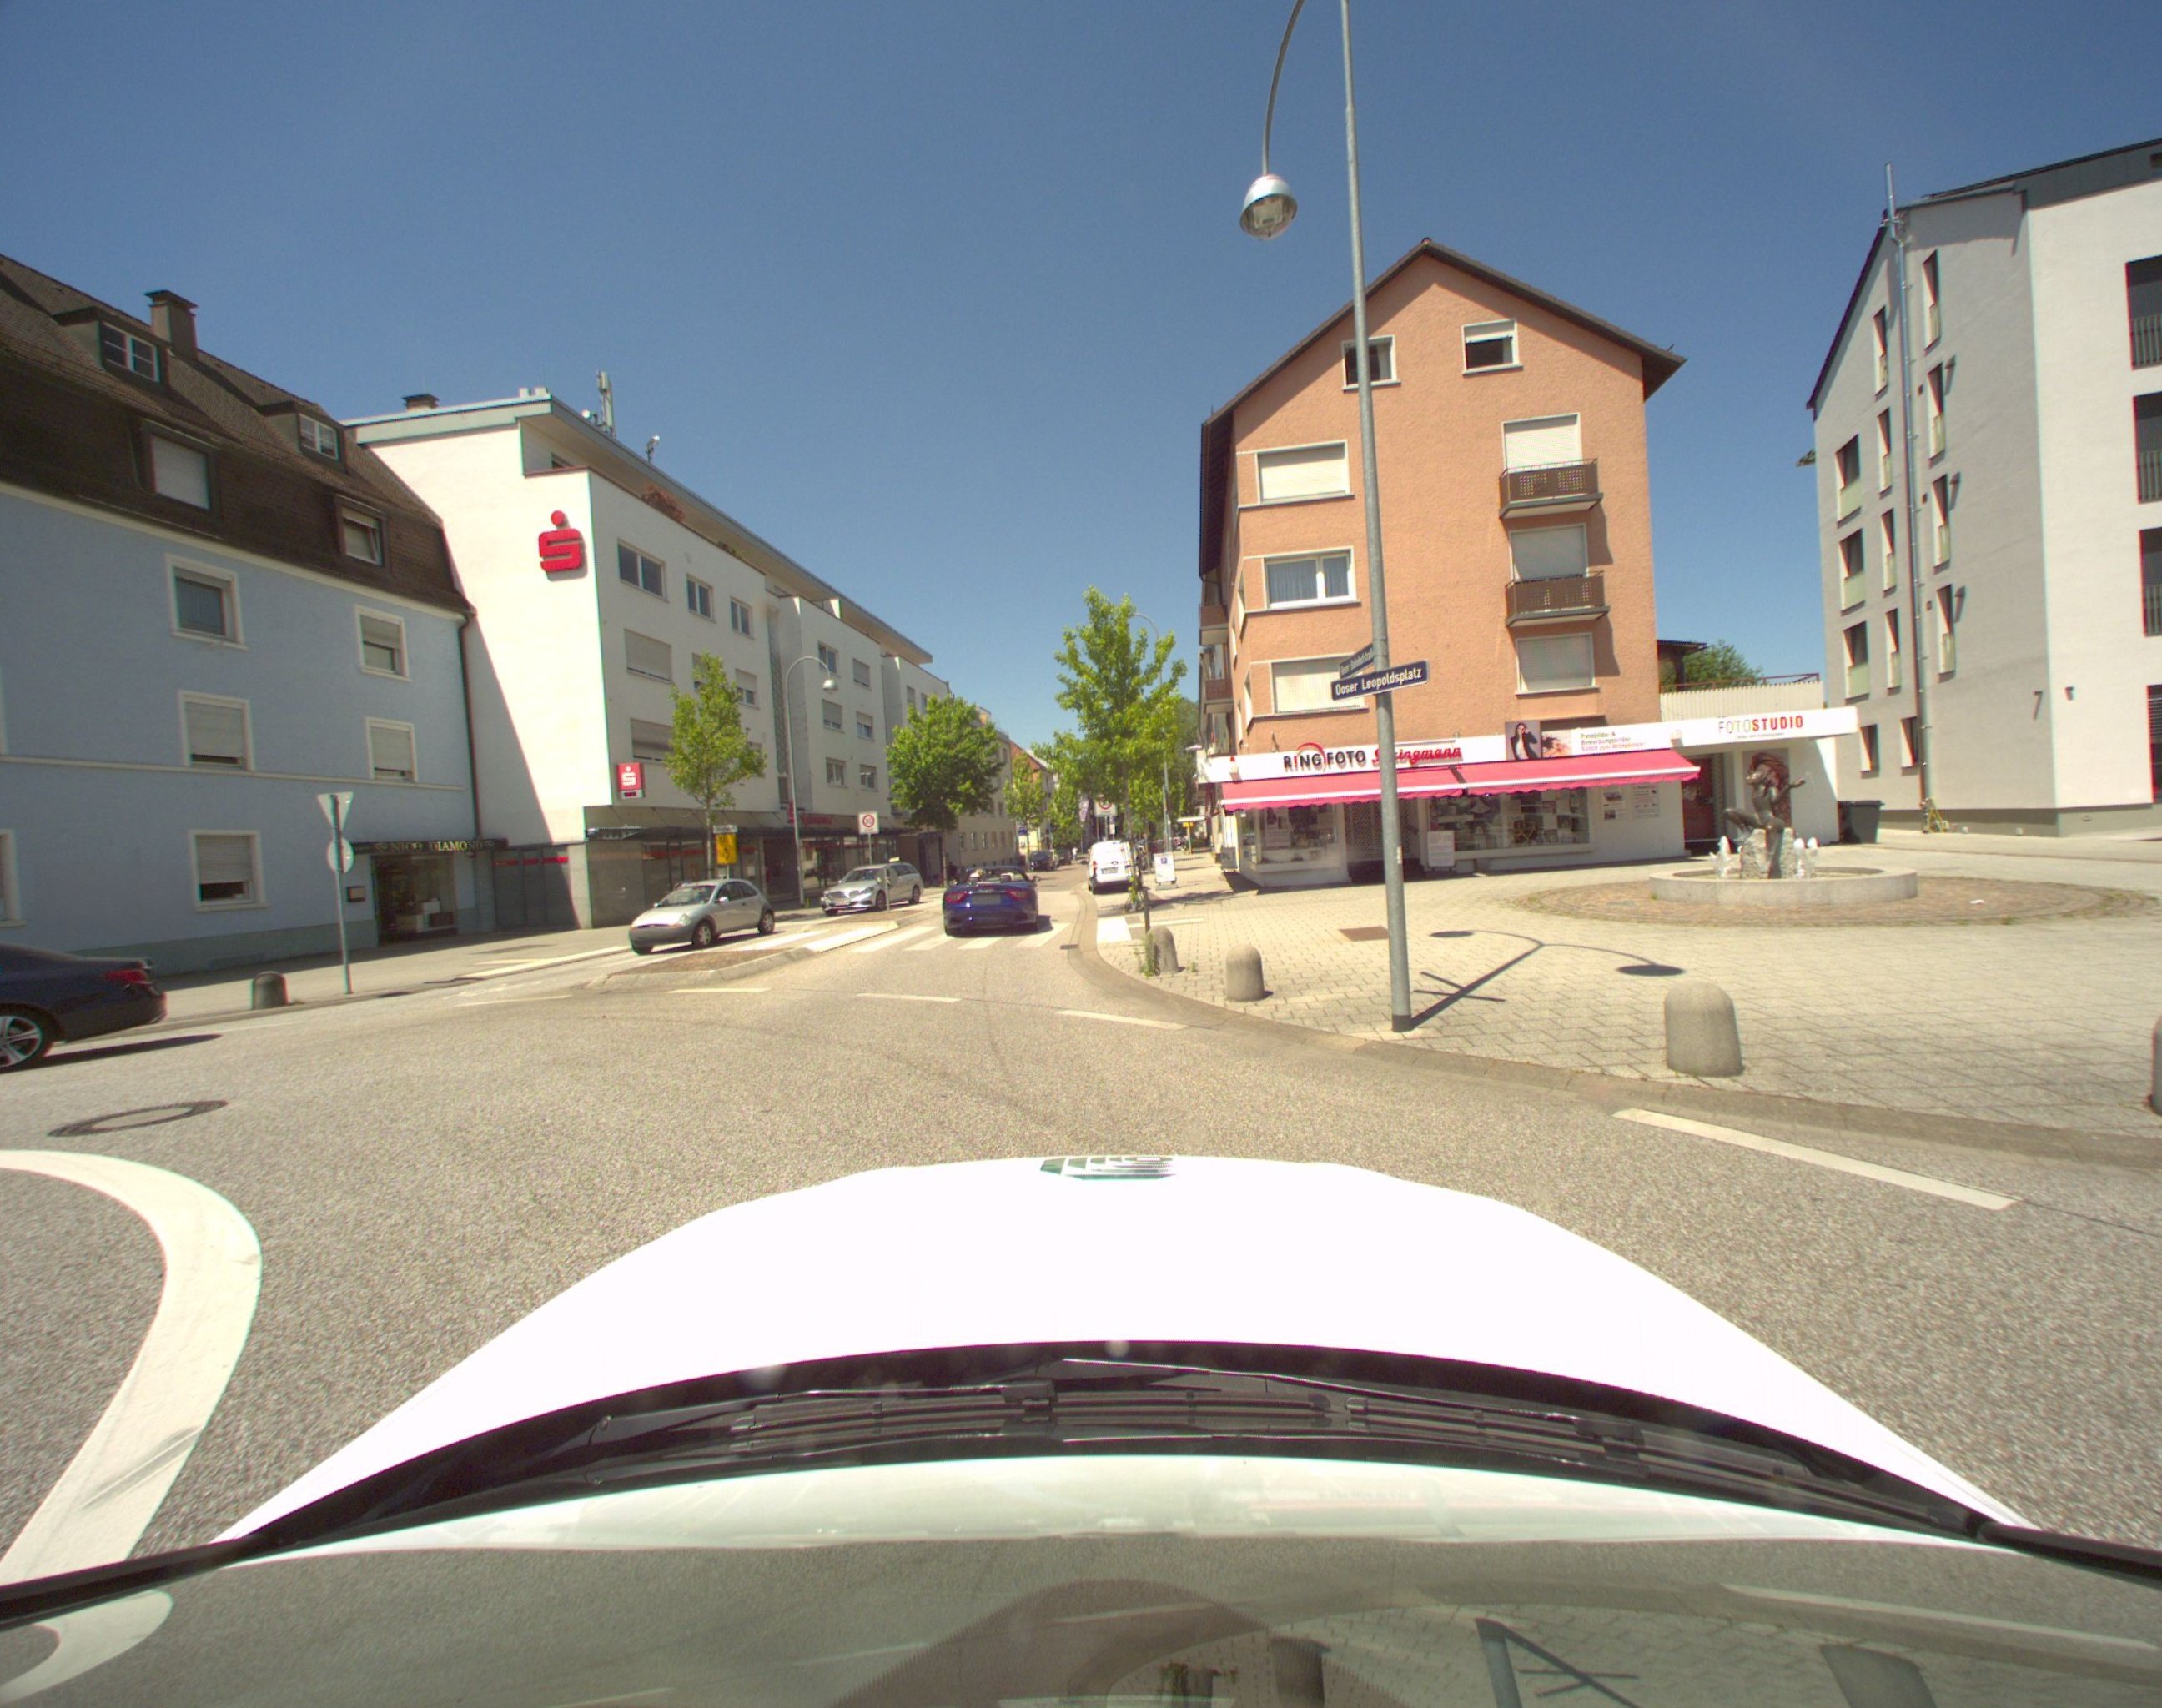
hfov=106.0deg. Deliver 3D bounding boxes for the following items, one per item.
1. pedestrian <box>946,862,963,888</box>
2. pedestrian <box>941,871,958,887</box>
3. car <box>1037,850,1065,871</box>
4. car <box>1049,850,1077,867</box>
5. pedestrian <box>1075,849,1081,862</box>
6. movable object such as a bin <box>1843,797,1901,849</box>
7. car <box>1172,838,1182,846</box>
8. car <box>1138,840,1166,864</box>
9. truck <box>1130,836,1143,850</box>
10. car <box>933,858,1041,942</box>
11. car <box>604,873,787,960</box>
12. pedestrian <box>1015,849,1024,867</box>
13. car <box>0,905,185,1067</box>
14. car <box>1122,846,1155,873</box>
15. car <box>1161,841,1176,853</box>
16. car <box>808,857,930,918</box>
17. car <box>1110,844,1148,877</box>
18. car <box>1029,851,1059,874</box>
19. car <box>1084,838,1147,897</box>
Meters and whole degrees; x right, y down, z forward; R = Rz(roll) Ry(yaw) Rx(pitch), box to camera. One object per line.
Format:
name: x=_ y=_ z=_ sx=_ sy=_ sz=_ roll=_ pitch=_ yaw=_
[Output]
pedestrian: x=-7.116 y=1.164 z=45.824 sx=0.563 sy=1.372 sz=0.670 roll=-5 pitch=0 yaw=17
pedestrian: x=-7.633 y=1.451 z=47.123 sx=0.659 sy=0.858 sz=0.736 roll=-5 pitch=-4 yaw=17
car: x=-2.659 y=0.548 z=73.066 sx=1.814 sy=1.619 sz=4.401 roll=-3 pitch=1 yaw=7
car: x=-1.720 y=0.400 z=79.214 sx=1.743 sy=1.474 sz=4.334 roll=-2 pitch=1 yaw=10
pedestrian: x=-0.354 y=0.139 z=94.078 sx=0.576 sy=1.474 sz=0.565 roll=-4 pitch=0 yaw=7
movable object such as a bin: x=19.096 y=-0.760 z=19.681 sx=0.751 sy=1.155 sz=0.778 roll=-4 pitch=3 yaw=25
car: x=20.773 y=-2.532 z=176.187 sx=1.940 sy=1.476 sz=4.147 roll=-5 pitch=1 yaw=8
car: x=6.436 y=-0.210 z=73.178 sx=1.981 sy=1.798 sz=4.583 roll=-5 pitch=2 yaw=10
truck: x=9.636 y=-1.938 z=141.248 sx=1.794 sy=2.117 sz=4.727 roll=-5 pitch=1 yaw=9
car: x=-1.983 y=0.881 z=17.846 sx=1.973 sy=1.398 sz=4.619 roll=-3 pitch=1 yaw=-5
car: x=-8.479 y=1.316 z=18.327 sx=1.689 sy=1.458 sz=3.801 roll=-5 pitch=0 yaw=10
pedestrian: x=-6.016 y=0.421 z=79.318 sx=0.656 sy=1.680 sz=0.629 roll=-6 pitch=3 yaw=-10
car: x=-12.254 y=1.512 z=7.796 sx=1.974 sy=1.477 sz=4.740 roll=-5 pitch=0 yaw=38
car: x=3.939 y=0.313 z=55.290 sx=1.712 sy=1.583 sz=4.237 roll=-5 pitch=0 yaw=10
car: x=12.857 y=-1.042 z=119.671 sx=1.965 sy=1.450 sz=4.360 roll=-6 pitch=1 yaw=8
car: x=-6.772 y=1.000 z=26.723 sx=1.982 sy=1.592 sz=5.011 roll=-4 pitch=0 yaw=8
car: x=2.980 y=0.347 z=49.973 sx=1.754 sy=1.705 sz=4.717 roll=-5 pitch=0 yaw=8
car: x=-3.017 y=0.653 z=67.483 sx=1.720 sy=1.740 sz=4.401 roll=-1 pitch=1 yaw=7
car: x=1.136 y=0.435 z=28.319 sx=1.743 sy=1.724 sz=3.907 roll=-6 pitch=0 yaw=-2
